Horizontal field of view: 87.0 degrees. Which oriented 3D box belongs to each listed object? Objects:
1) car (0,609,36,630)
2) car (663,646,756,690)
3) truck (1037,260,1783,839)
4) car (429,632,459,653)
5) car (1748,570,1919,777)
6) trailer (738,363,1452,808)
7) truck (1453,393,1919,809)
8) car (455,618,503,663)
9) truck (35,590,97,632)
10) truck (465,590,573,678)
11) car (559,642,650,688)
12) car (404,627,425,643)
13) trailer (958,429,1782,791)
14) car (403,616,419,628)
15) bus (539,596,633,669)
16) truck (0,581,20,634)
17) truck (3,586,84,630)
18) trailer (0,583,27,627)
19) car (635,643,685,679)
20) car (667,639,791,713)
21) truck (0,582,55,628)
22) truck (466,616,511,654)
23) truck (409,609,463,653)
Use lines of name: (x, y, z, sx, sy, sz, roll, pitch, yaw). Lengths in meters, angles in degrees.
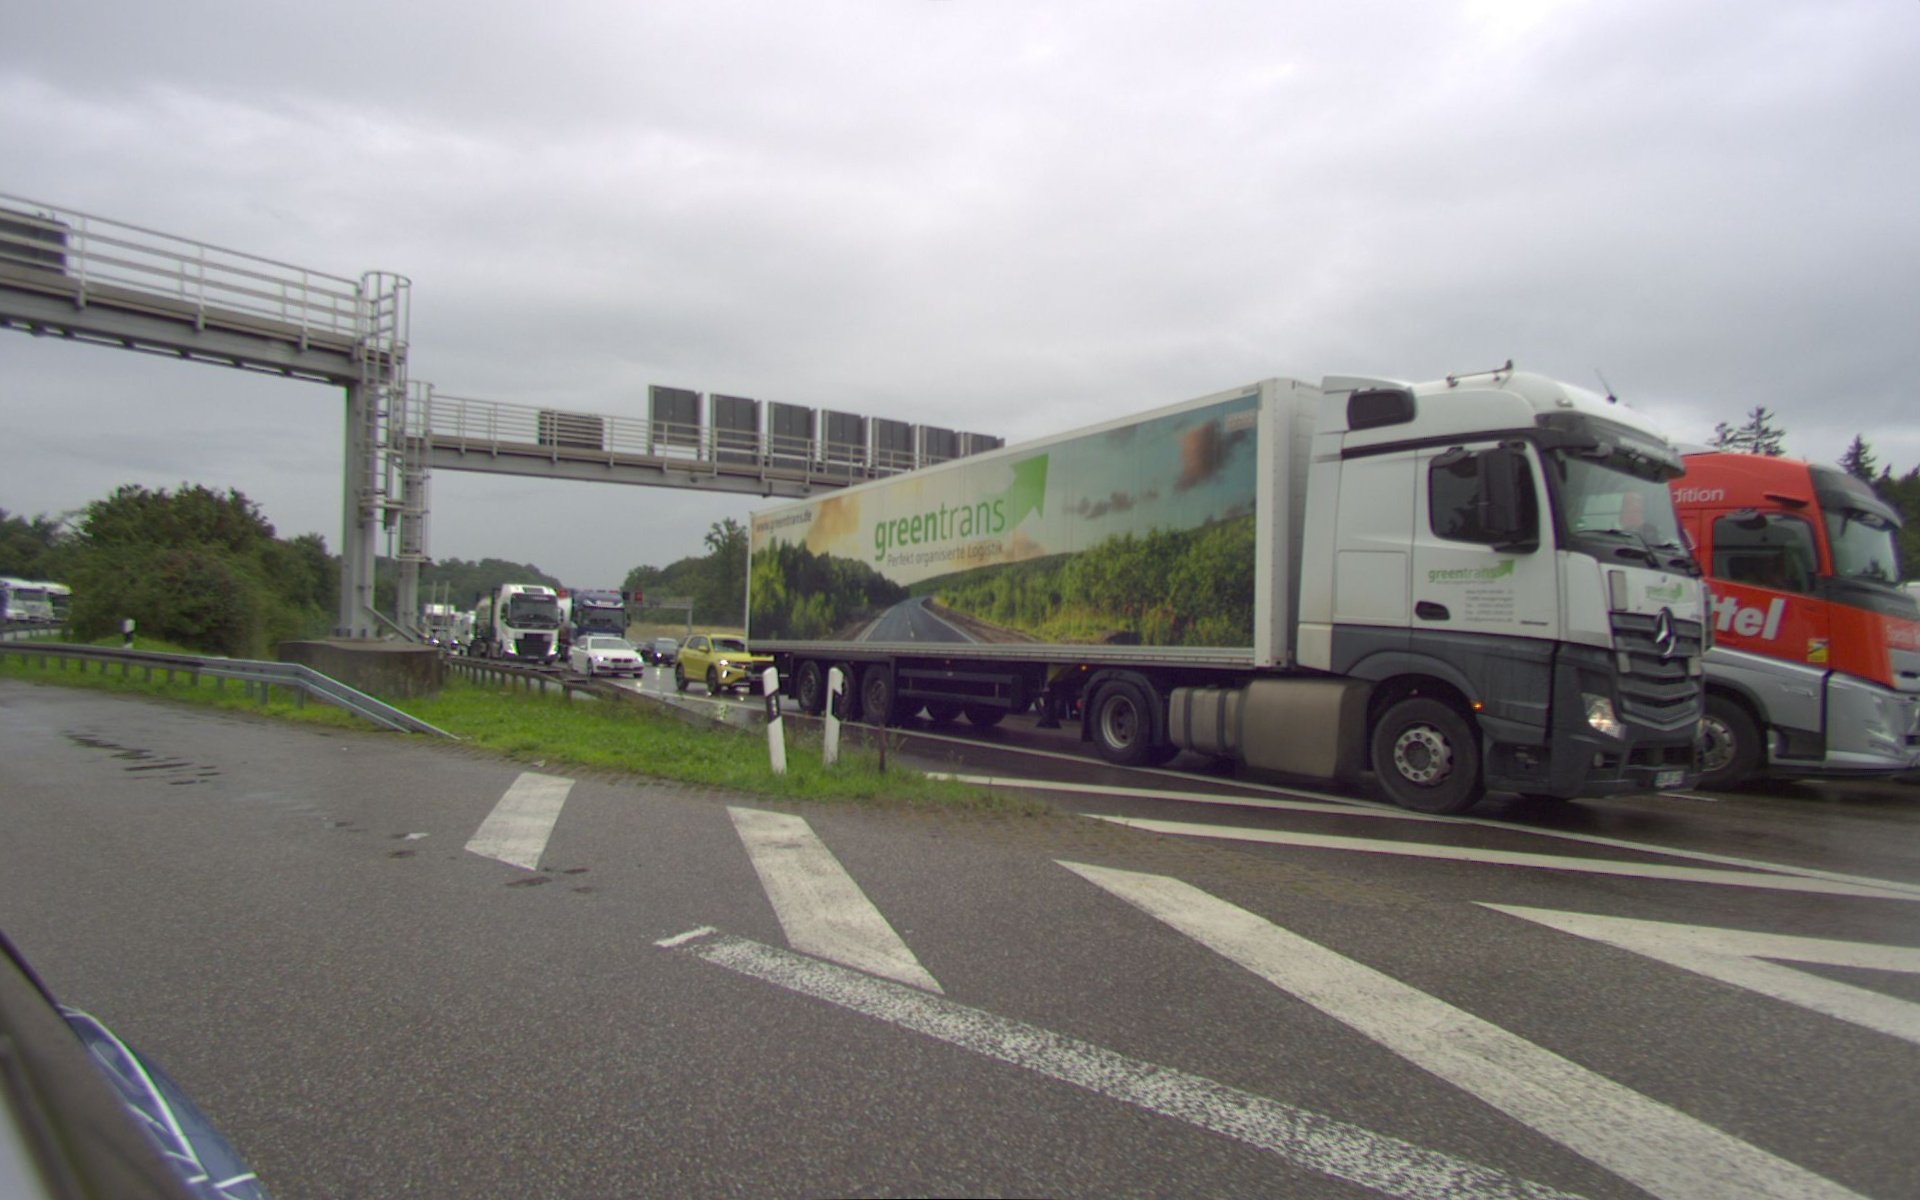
car: (-86.425, 1.749, 91.787, 3.959, 1.872, 1.841, 1, -2, 12)
car: (-9.771, 2.602, 39.280, 1.901, 1.534, 4.774, 3, -3, -34)
truck: (4.071, -0.246, 10.805, 2.879, 4.130, 6.736, 3, -3, -34)
car: (-42.877, 3.527, 84.028, 1.789, 1.697, 4.011, 1, -2, -33)
car: (13.636, 0.881, 11.249, 2.119, 2.507, 7.384, 3, -3, -34)
trailer: (0.468, 0.058, 16.091, 2.879, 4.237, 13.671, 3, -3, -34)
truck: (8.779, 0.125, 11.978, 2.592, 3.894, 4.599, 3, -4, -35)
car: (-31.211, 2.541, 65.527, 2.329, 2.663, 6.918, -1, 0, -29)
truck: (-96.382, 1.178, 109.106, 4.577, 4.420, 2.598, 1, -2, 10)
truck: (-23.773, 1.635, 54.044, 3.301, 4.101, 12.608, -1, 0, -33)
car: (-13.054, 2.346, 36.974, 1.901, 1.534, 4.774, 3, -3, -34)
car: (-62.498, 4.004, 115.894, 1.789, 1.770, 4.699, 1, -2, -31)
trailer: (5.013, 0.361, 17.232, 2.592, 3.894, 13.708, 3, -4, -35)
car: (-82.524, 3.320, 152.053, 1.789, 1.770, 4.699, 1, -2, -33)
bus: (-21.717, 1.732, 58.286, 2.855, 3.796, 10.459, -1, 0, -33)
truck: (-75.568, 0.458, 76.662, 6.484, 3.949, 2.890, 2, -2, 10)
truck: (-94.130, 0.837, 103.969, 5.749, 4.420, 3.236, 1, -2, 10)
trailer: (-96.507, 0.315, 96.712, 13.384, 4.122, 3.236, 2, -2, 10)
car: (-16.708, 3.348, 56.174, 1.597, 1.794, 4.011, -1, 0, -33)
car: (-6.323, 1.984, 27.338, 1.770, 1.807, 4.250, 3, -3, -35)
truck: (-90.632, 0.457, 95.656, 7.851, 4.122, 3.236, 2, -2, 10)
truck: (-50.199, 3.595, 107.552, 2.992, 3.704, 9.462, -1, 0, -33)
truck: (-49.461, 2.847, 95.345, 3.480, 3.877, 9.461, -1, 0, -34)
